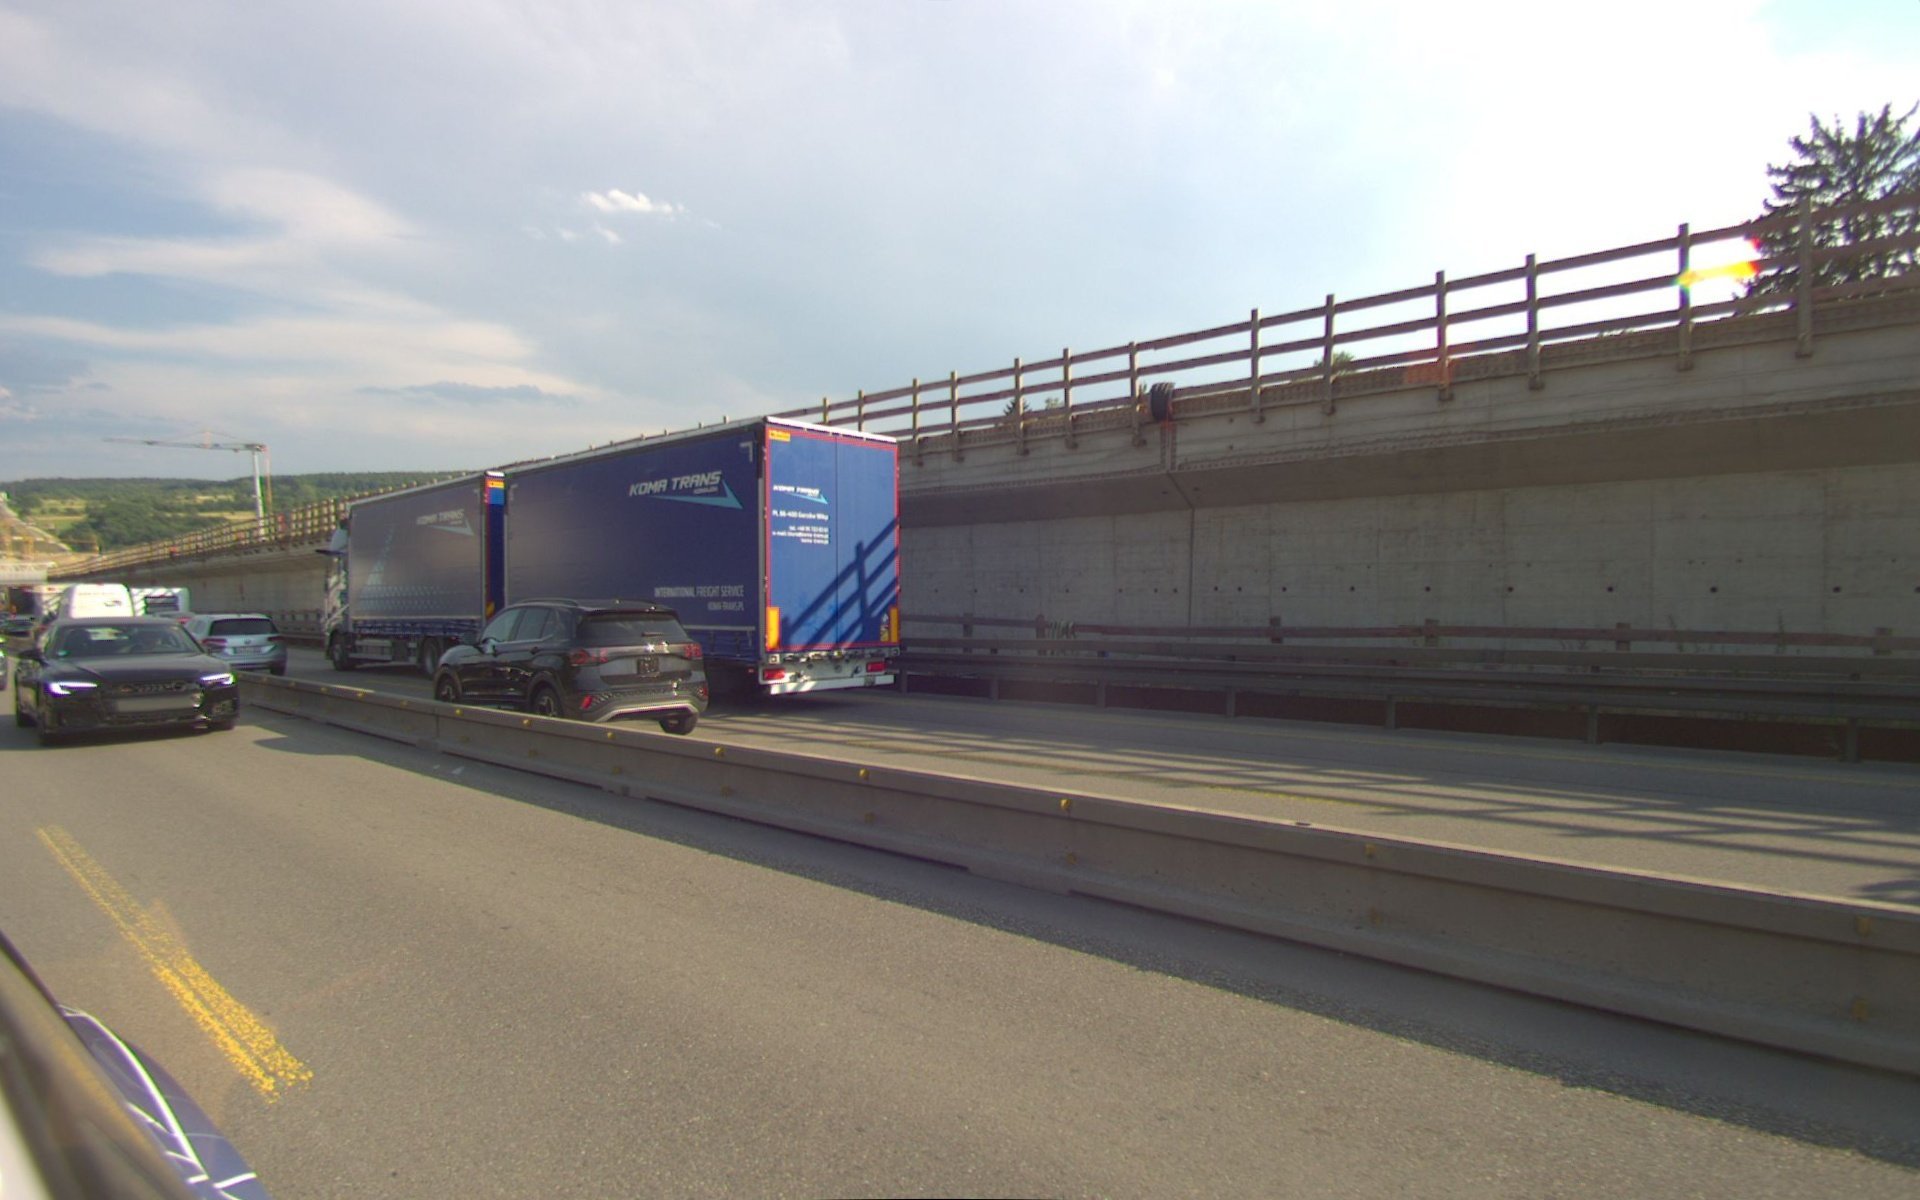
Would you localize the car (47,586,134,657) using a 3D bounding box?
[{"bbox_3d":[-34.695,0.857,40.329,5.613,2.636,1.974,-1,-1,43],"label":"car"}]

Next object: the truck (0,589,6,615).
[{"bbox_3d":[-123.744,0.277,129.513,5.763,3.196,1.972,-1,0,43],"label":"truck"}]

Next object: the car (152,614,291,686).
[{"bbox_3d":[-17.339,1.110,23.673,4.591,1.451,1.724,-1,1,43],"label":"car"}]

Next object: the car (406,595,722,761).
[{"bbox_3d":[-4.779,0.771,11.863,4.368,1.588,1.681,-1,0,42],"label":"car"}]

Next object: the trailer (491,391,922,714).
[{"bbox_3d":[-4.576,-0.575,16.780,8.285,4.136,2.786,-1,0,42],"label":"trailer"}]

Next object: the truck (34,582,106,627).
[{"bbox_3d":[-65.072,0.348,73.962,6.487,3.169,3.200,-1,0,42],"label":"truck"}]

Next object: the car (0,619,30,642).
[{"bbox_3d":[-61.388,1.933,65.294,3.664,1.329,1.690,-1,3,43],"label":"car"}]

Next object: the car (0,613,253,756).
[{"bbox_3d":[-10.983,0.941,13.117,5.221,1.491,1.919,-1,-1,43],"label":"car"}]

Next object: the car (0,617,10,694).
[{"bbox_3d":[-20.772,1.119,20.369,4.112,1.498,1.788,-1,-1,38],"label":"car"}]

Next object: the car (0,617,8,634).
[{"bbox_3d":[-79.570,2.167,83.097,3.664,1.329,1.690,-1,3,43],"label":"car"}]

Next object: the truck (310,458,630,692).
[{"bbox_3d":[-11.589,-0.411,23.121,10.578,4.290,2.786,-1,0,42],"label":"truck"}]

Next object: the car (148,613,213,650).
[{"bbox_3d":[-34.282,1.356,44.490,1.689,1.397,4.002,-6,3,-45],"label":"car"}]

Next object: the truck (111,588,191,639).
[{"bbox_3d":[-41.707,0.675,52.129,6.064,2.318,2.250,-1,3,43],"label":"truck"}]

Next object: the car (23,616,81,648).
[{"bbox_3d":[-43.504,1.521,48.467,3.664,1.329,1.690,-1,3,43],"label":"car"}]

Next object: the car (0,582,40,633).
[{"bbox_3d":[-106.038,0.858,113.555,14.303,5.428,3.282,-1,0,44],"label":"car"}]
